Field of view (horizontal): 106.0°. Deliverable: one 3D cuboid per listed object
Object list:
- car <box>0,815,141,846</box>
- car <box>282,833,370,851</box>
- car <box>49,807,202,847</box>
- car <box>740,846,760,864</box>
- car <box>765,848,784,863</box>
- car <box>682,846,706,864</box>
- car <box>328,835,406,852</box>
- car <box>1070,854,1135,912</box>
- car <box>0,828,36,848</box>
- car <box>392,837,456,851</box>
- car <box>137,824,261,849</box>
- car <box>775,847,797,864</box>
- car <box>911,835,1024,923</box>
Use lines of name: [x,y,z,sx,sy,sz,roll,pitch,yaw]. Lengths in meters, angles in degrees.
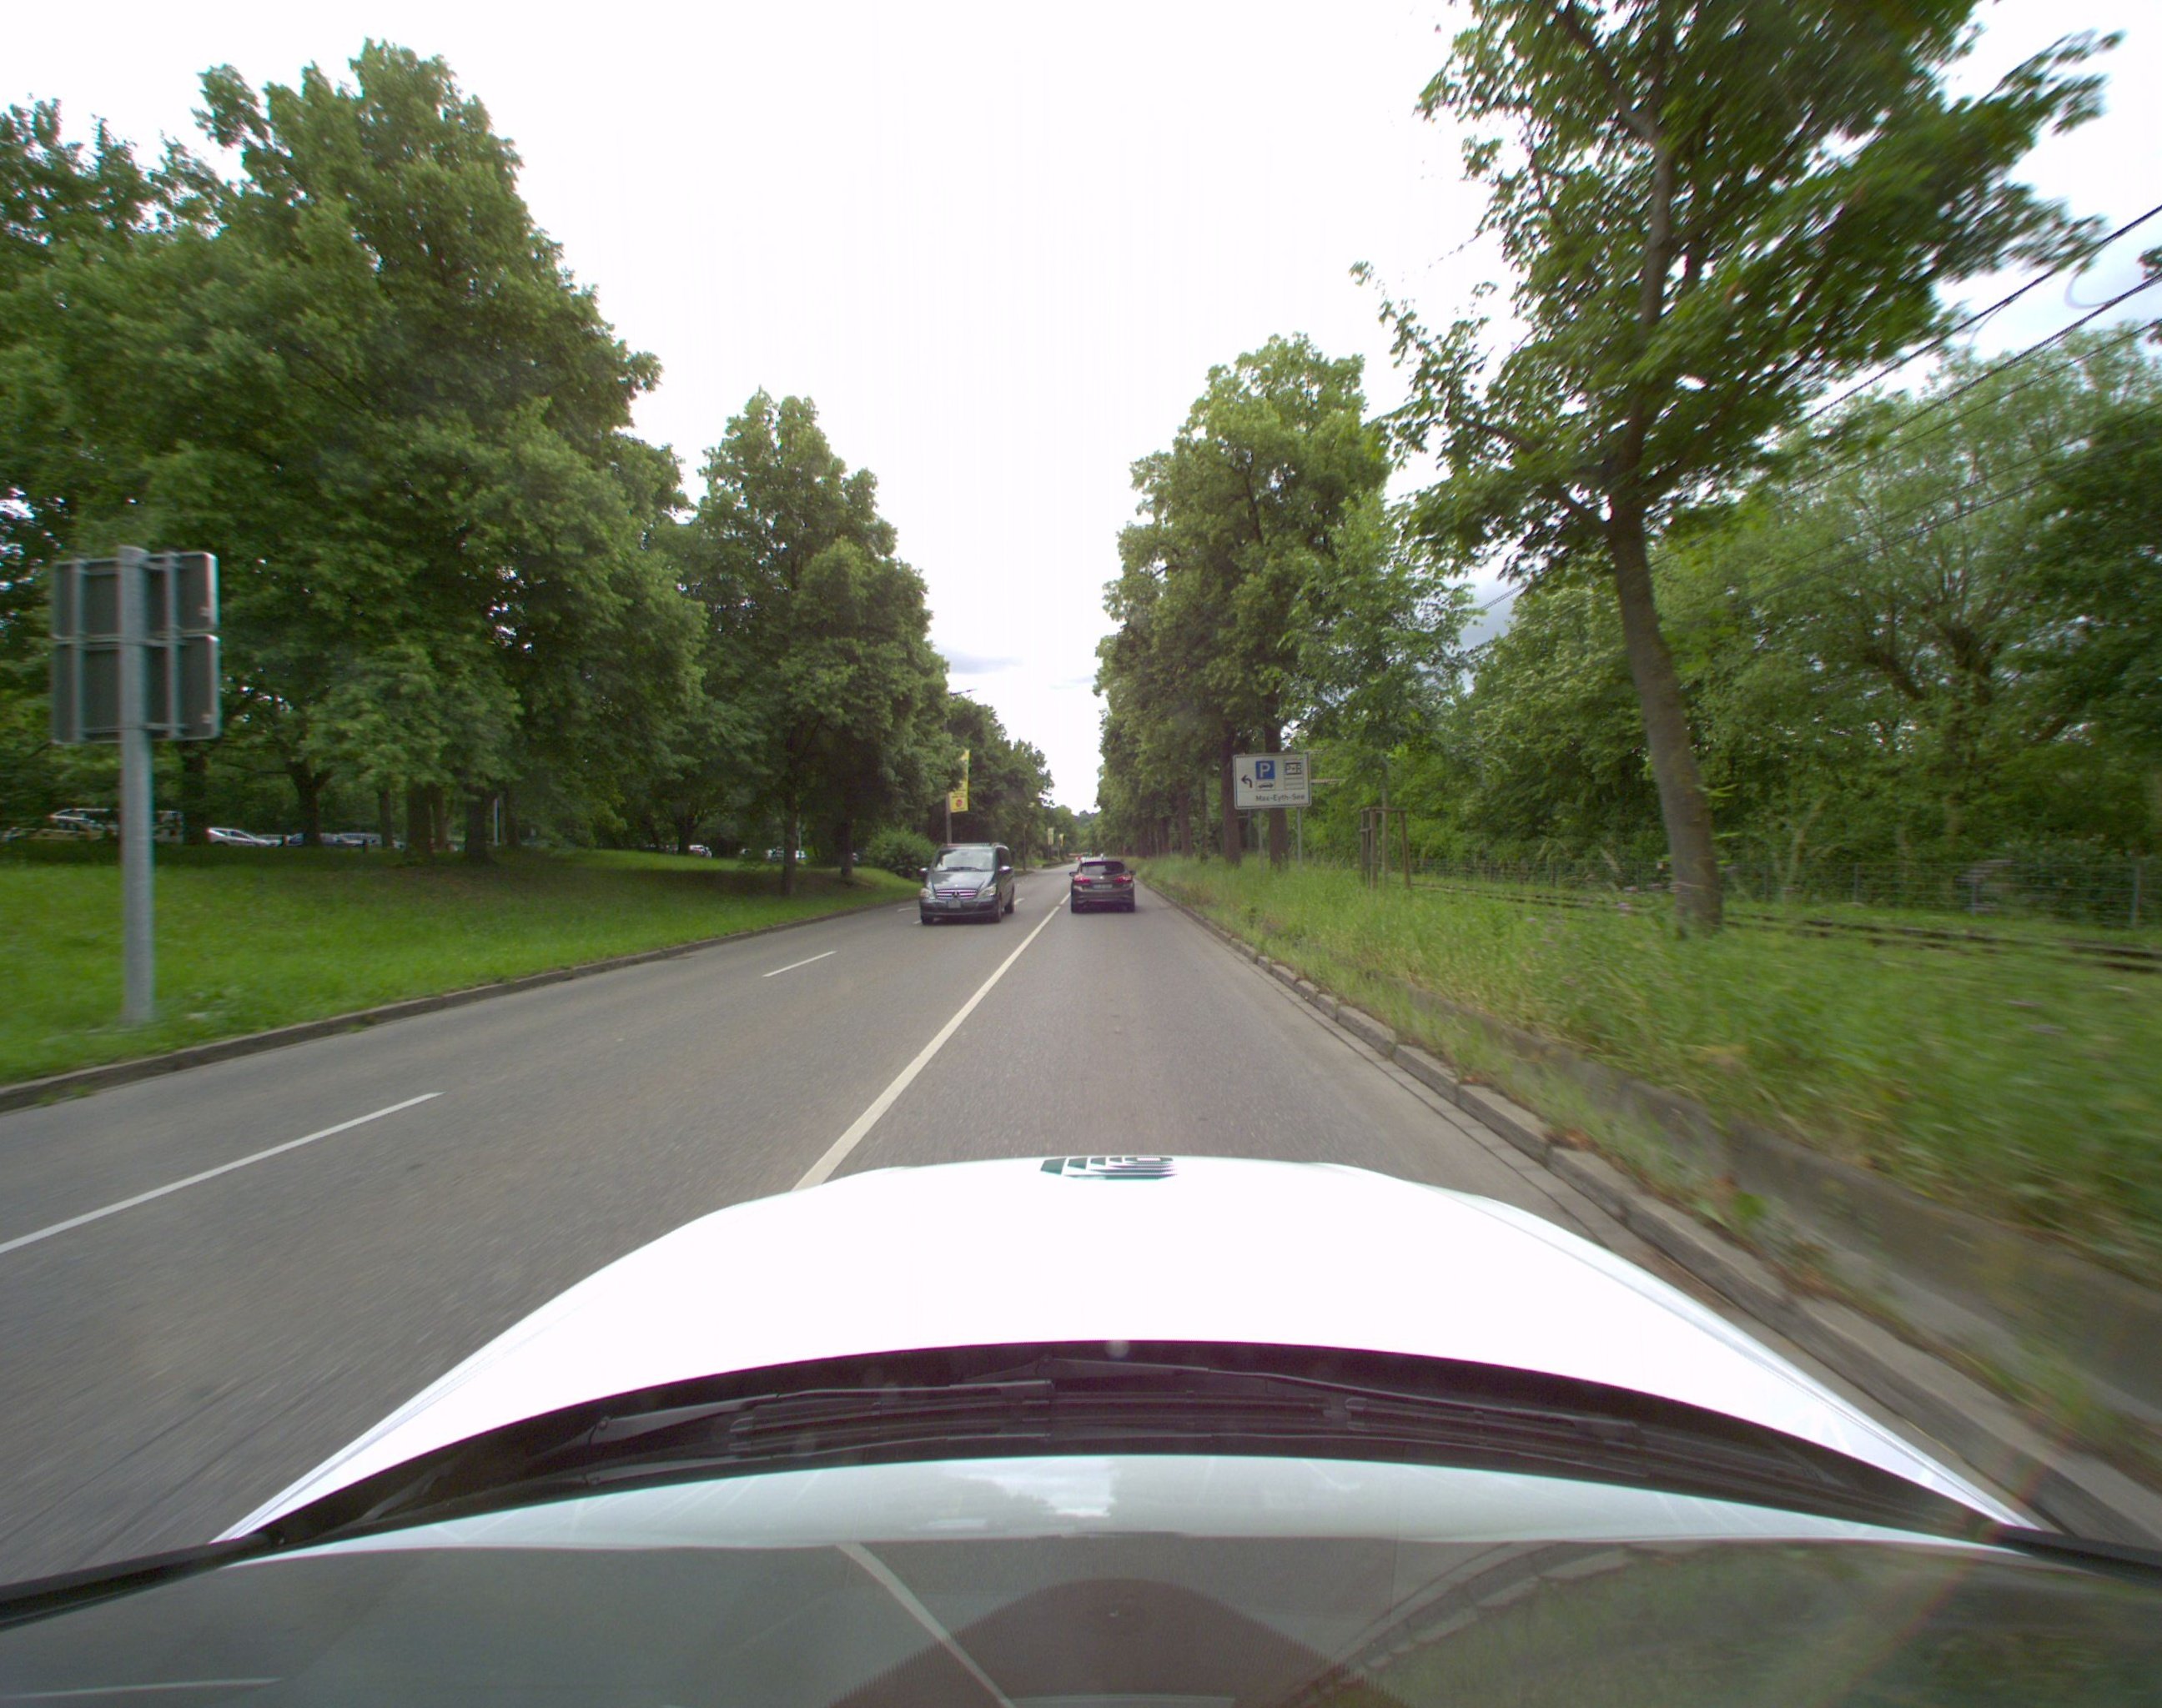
car: [-42.316,-0.965,34.158,3.516,1.210,1.387,0,0,-27]
car: [-51.661,-0.794,55.794,3.990,1.210,1.888,0,0,-24]
car: [-43.174,-1.182,36.913,4.119,1.683,1.741,0,0,-23]
car: [-29.289,0.095,72.063,1.653,1.486,3.970,0,0,-22]
car: [-30.921,0.158,82.131,1.653,1.486,3.970,0,0,-22]
car: [-32.718,0.098,68.940,1.653,1.486,3.970,0,0,-22]
car: [-53.266,-0.757,60.869,3.990,1.210,1.888,0,0,-24]
car: [0.610,0.780,23.467,1.724,1.537,3.552,0,0,1]
car: [-67.228,-0.970,49.593,3.990,1.210,1.888,0,0,-24]
car: [-58.220,-0.901,72.233,3.990,1.210,1.888,0,0,-24]
car: [-46.466,-0.893,43.010,3.990,1.210,1.888,0,0,-24]
car: [-26.502,0.174,73.148,1.653,1.486,3.970,0,0,-22]
car: [-2.785,0.587,21.201,1.986,1.955,5.186,-2,-1,2]
